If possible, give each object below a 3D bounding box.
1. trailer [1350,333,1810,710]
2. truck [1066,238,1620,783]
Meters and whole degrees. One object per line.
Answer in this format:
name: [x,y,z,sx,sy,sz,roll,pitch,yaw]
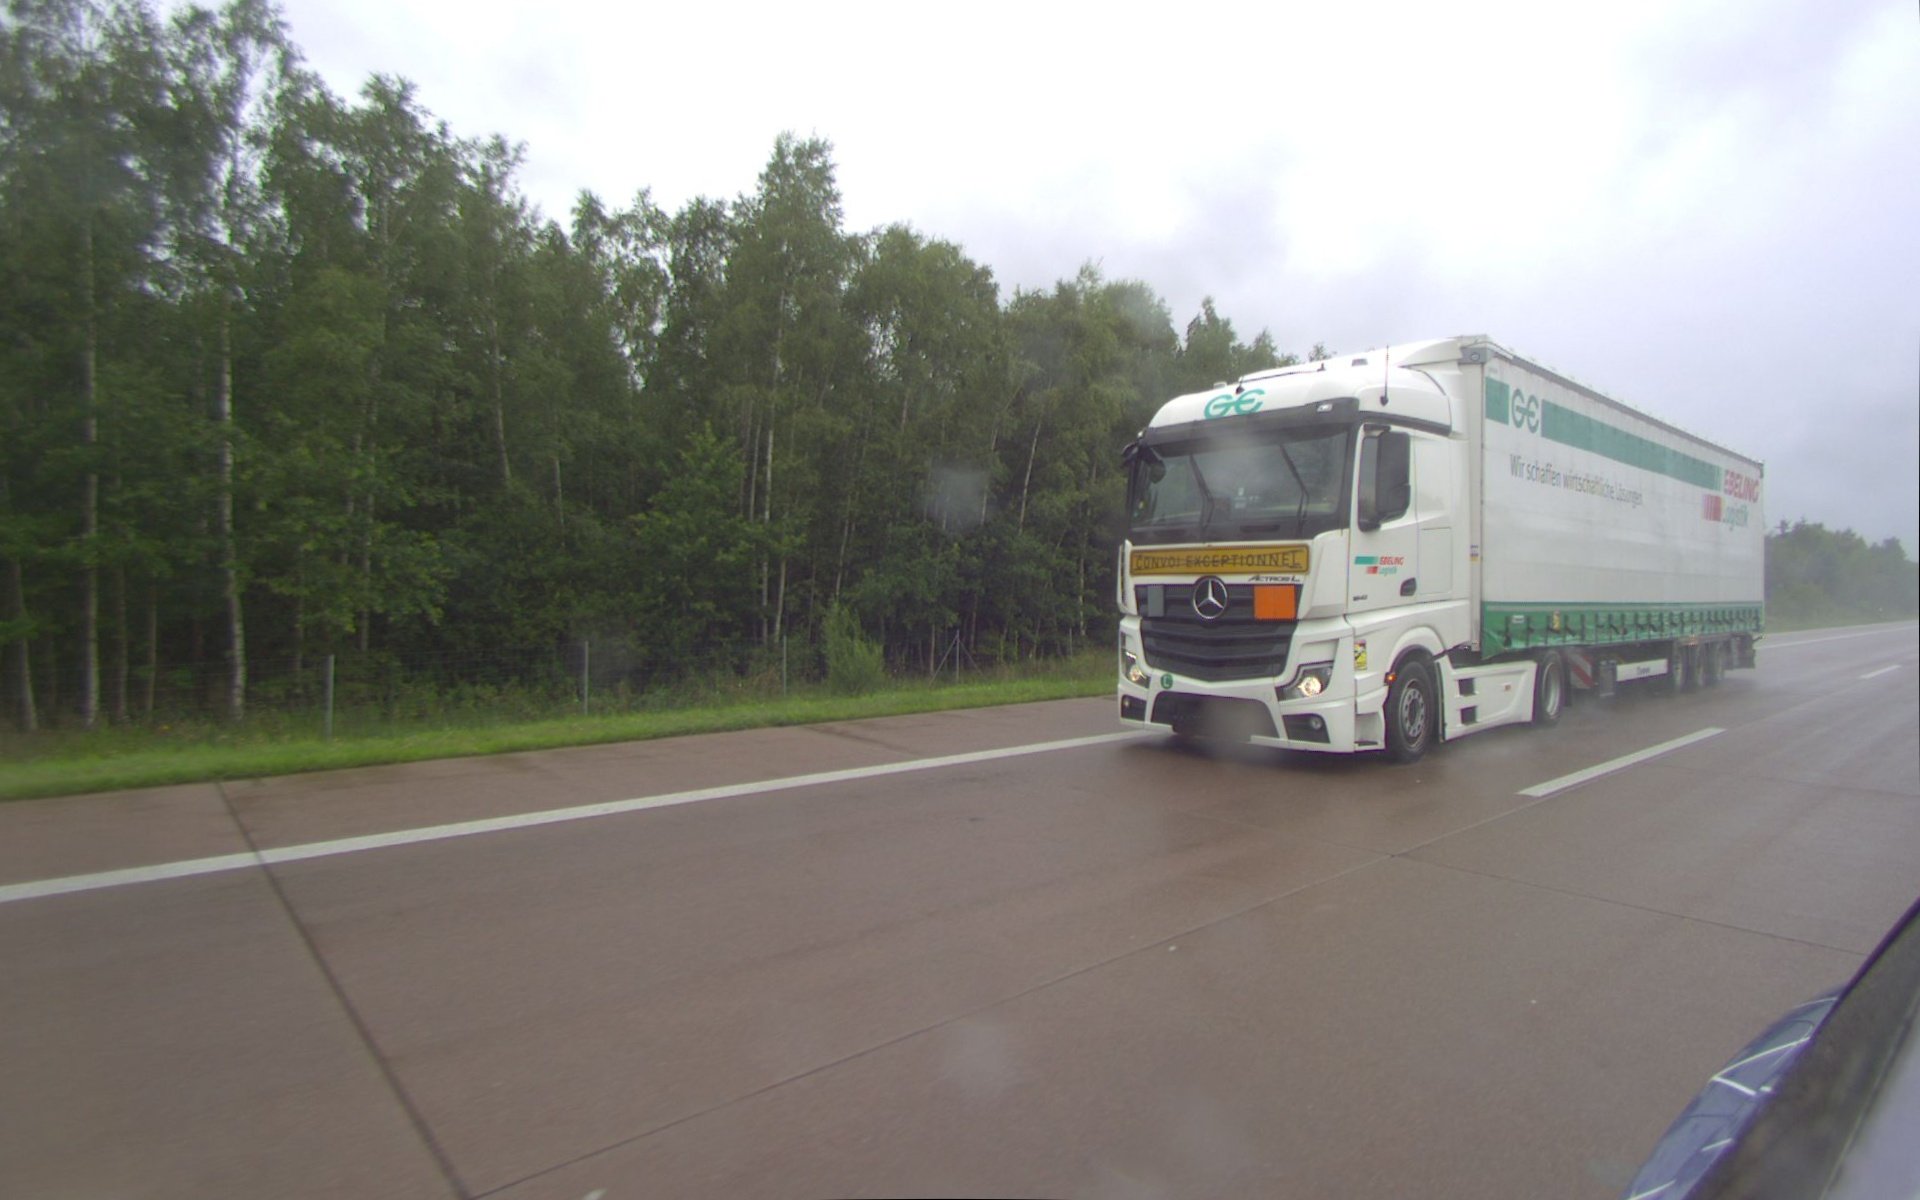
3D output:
trailer: [11.084,-0.879,16.903,12.904,4.284,2.857,1,2,-42]
truck: [4.384,-0.705,10.891,6.238,4.157,2.886,1,2,-42]
